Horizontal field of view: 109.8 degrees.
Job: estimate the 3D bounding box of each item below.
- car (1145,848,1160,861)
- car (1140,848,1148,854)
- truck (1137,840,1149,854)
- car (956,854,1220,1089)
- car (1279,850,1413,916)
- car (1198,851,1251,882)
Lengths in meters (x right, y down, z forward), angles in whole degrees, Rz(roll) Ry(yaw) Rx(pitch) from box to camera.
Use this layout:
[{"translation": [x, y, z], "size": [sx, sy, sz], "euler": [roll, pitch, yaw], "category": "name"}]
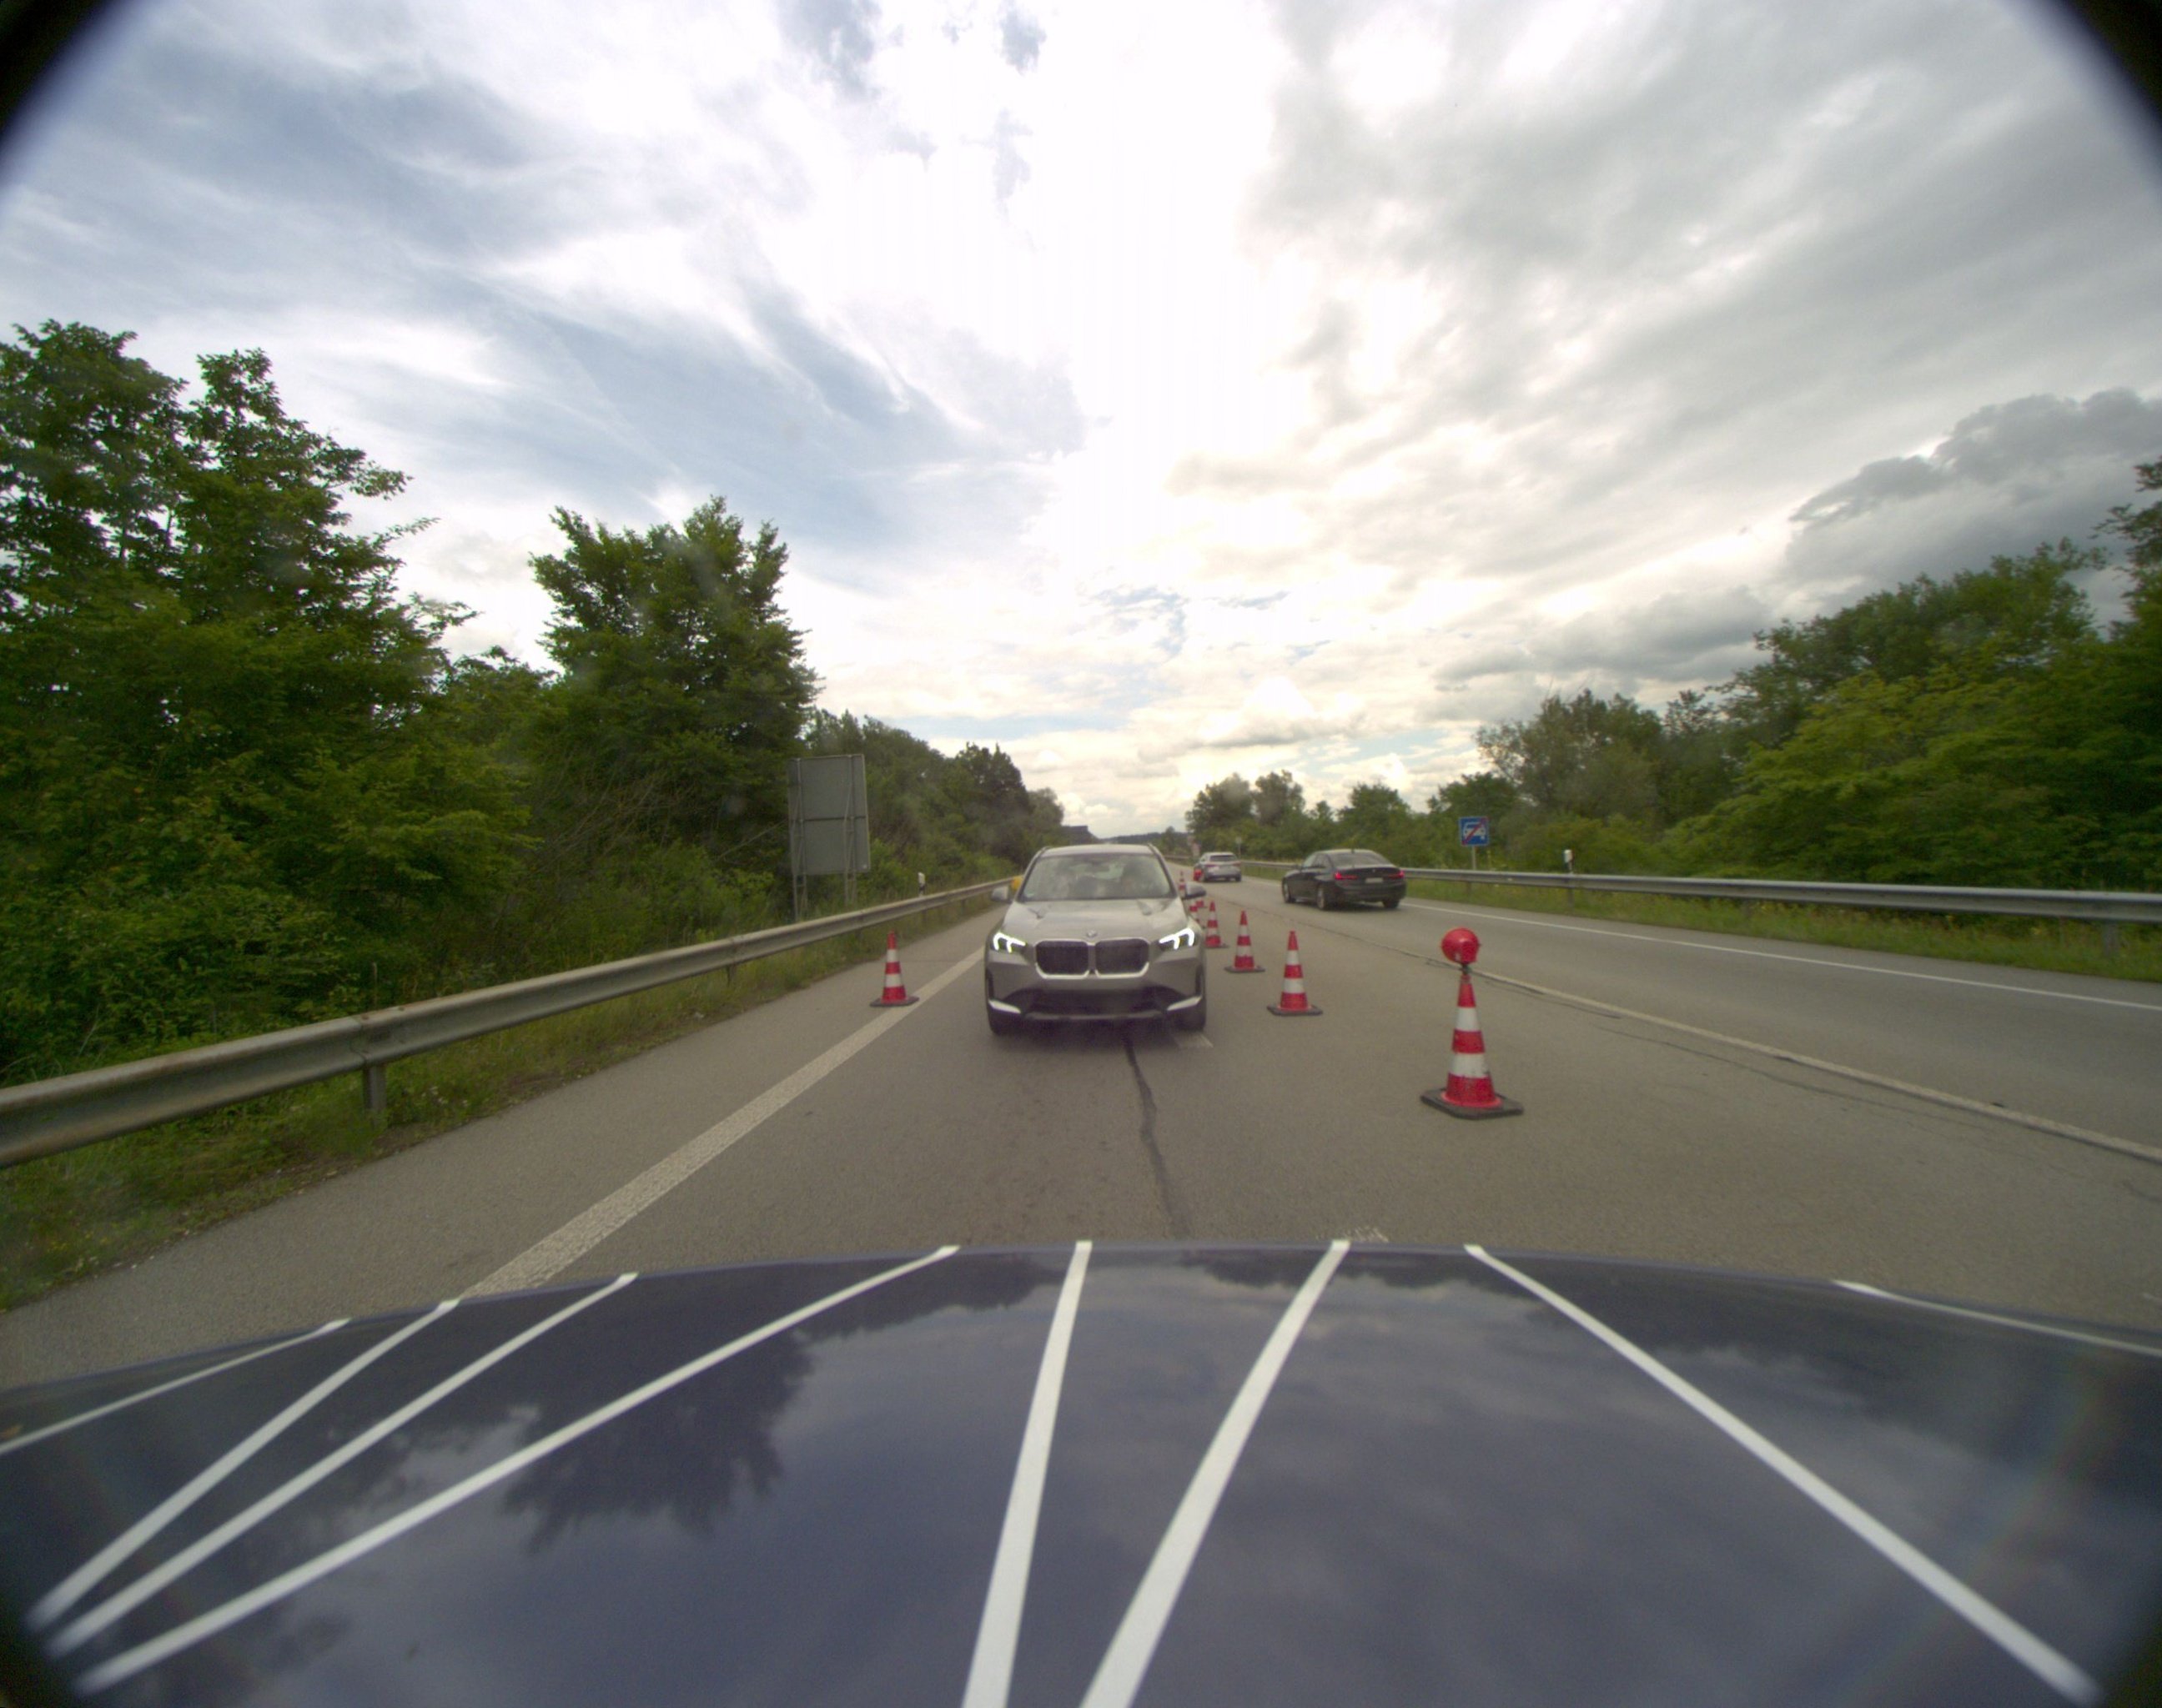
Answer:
[{"translation": [10.900, 0.084, 116.499], "size": [2.034, 1.976, 5.316], "euler": [-2, 0, 3], "category": "car"}, {"translation": [15.689, -0.771, 189.795], "size": [1.929, 1.597, 4.533], "euler": [-2, 0, 3], "category": "car"}, {"translation": [18.282, -2.056, 223.740], "size": [3.113, 3.682, 9.545], "euler": [-2, 0, 3], "category": "truck"}, {"translation": [0.173, 0.836, 7.587], "size": [1.817, 1.598, 4.434], "euler": [-2, 0, 3], "category": "car"}, {"translation": [6.503, 0.643, 19.187], "size": [1.713, 1.428, 4.335], "euler": [-2, 0, -2], "category": "car"}, {"translation": [6.963, 0.558, 37.247], "size": [1.683, 1.393, 4.373], "euler": [-2, 0, -1], "category": "car"}]
